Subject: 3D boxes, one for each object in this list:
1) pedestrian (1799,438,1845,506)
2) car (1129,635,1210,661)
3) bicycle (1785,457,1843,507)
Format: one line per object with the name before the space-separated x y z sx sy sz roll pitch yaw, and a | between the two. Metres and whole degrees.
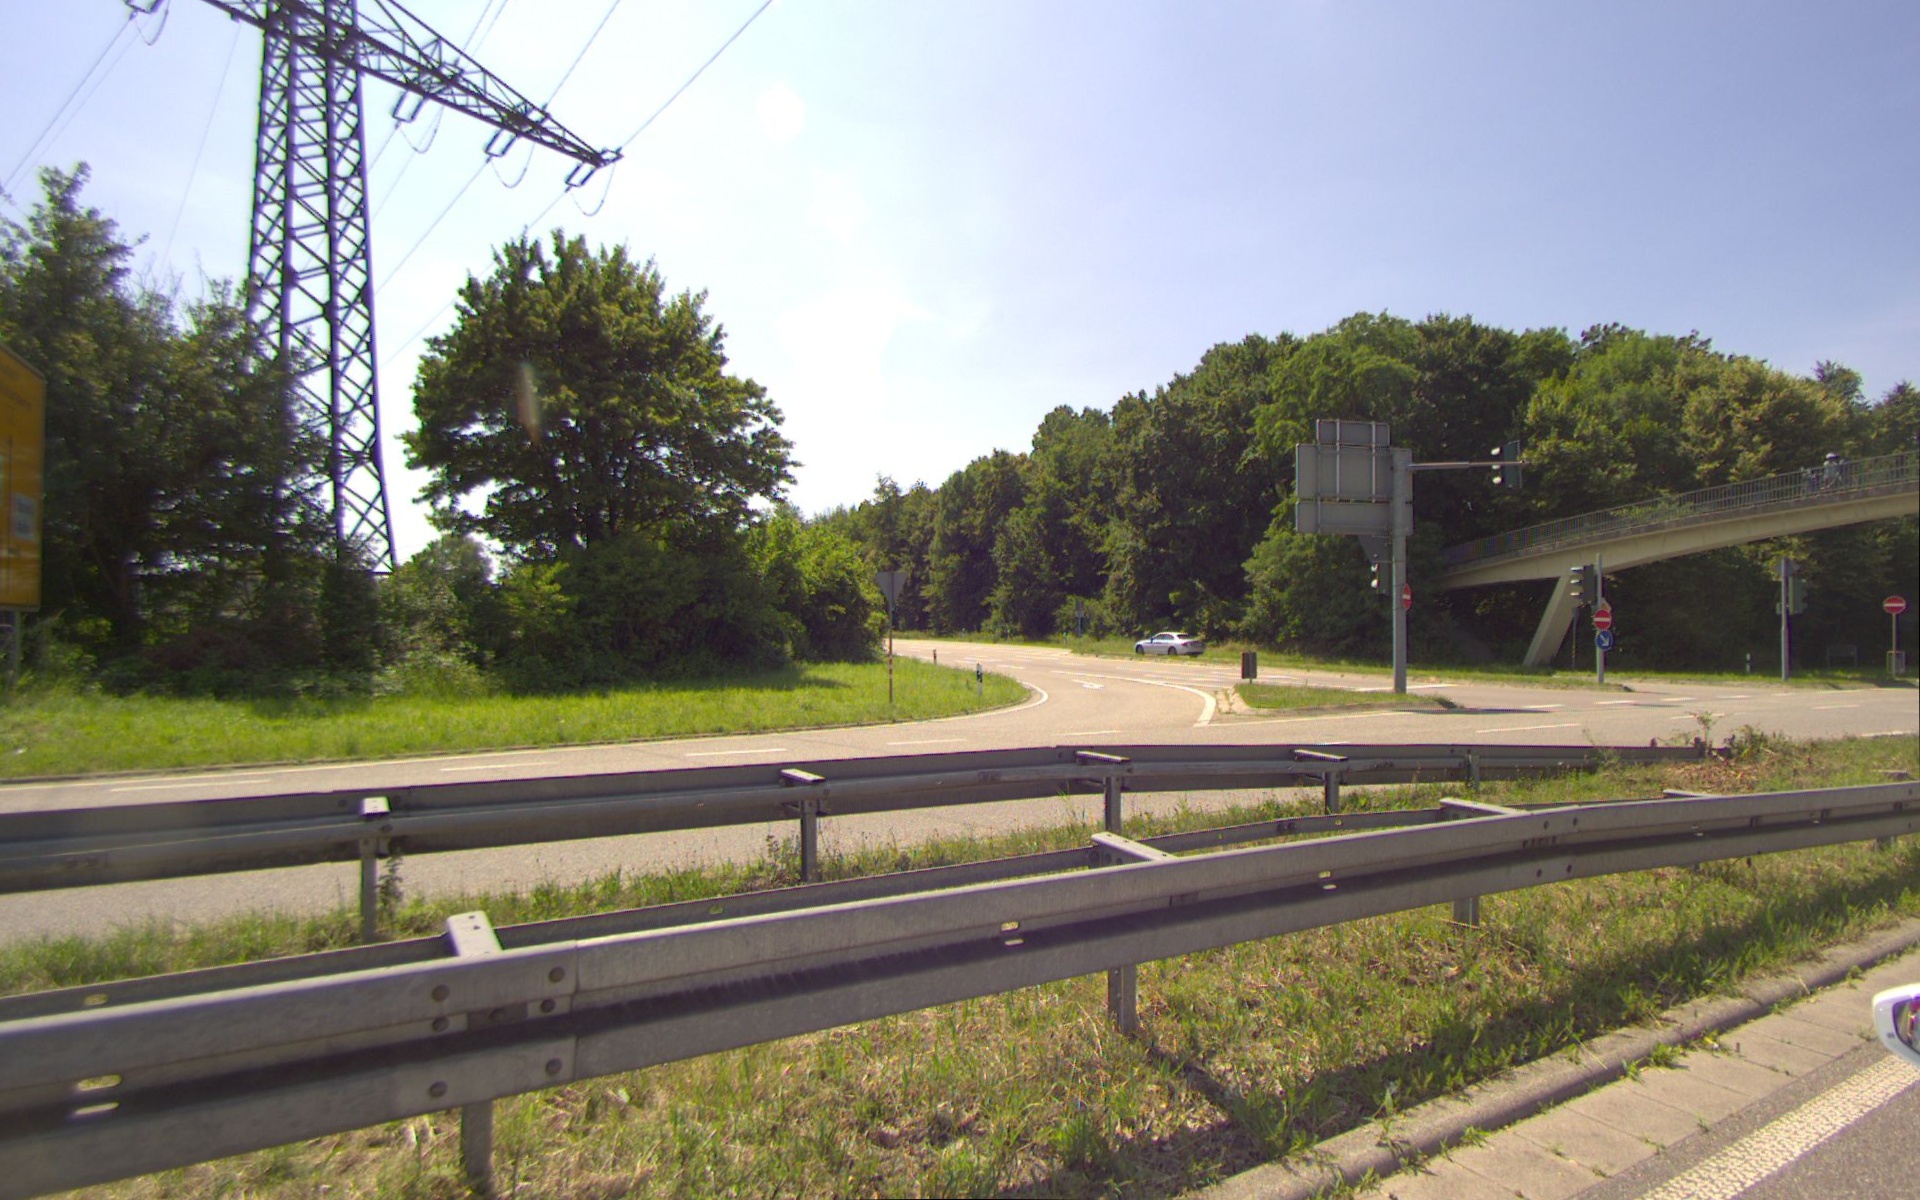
pedestrian | 30.017 -4.436 34.983 0.916 2.167 0.783 2 -3 -14
car | 11.971 2.728 57.677 1.976 1.391 4.744 1 -2 -30
bicycle | 29.757 -4.098 35.033 0.462 1.493 1.528 2 -3 -14
